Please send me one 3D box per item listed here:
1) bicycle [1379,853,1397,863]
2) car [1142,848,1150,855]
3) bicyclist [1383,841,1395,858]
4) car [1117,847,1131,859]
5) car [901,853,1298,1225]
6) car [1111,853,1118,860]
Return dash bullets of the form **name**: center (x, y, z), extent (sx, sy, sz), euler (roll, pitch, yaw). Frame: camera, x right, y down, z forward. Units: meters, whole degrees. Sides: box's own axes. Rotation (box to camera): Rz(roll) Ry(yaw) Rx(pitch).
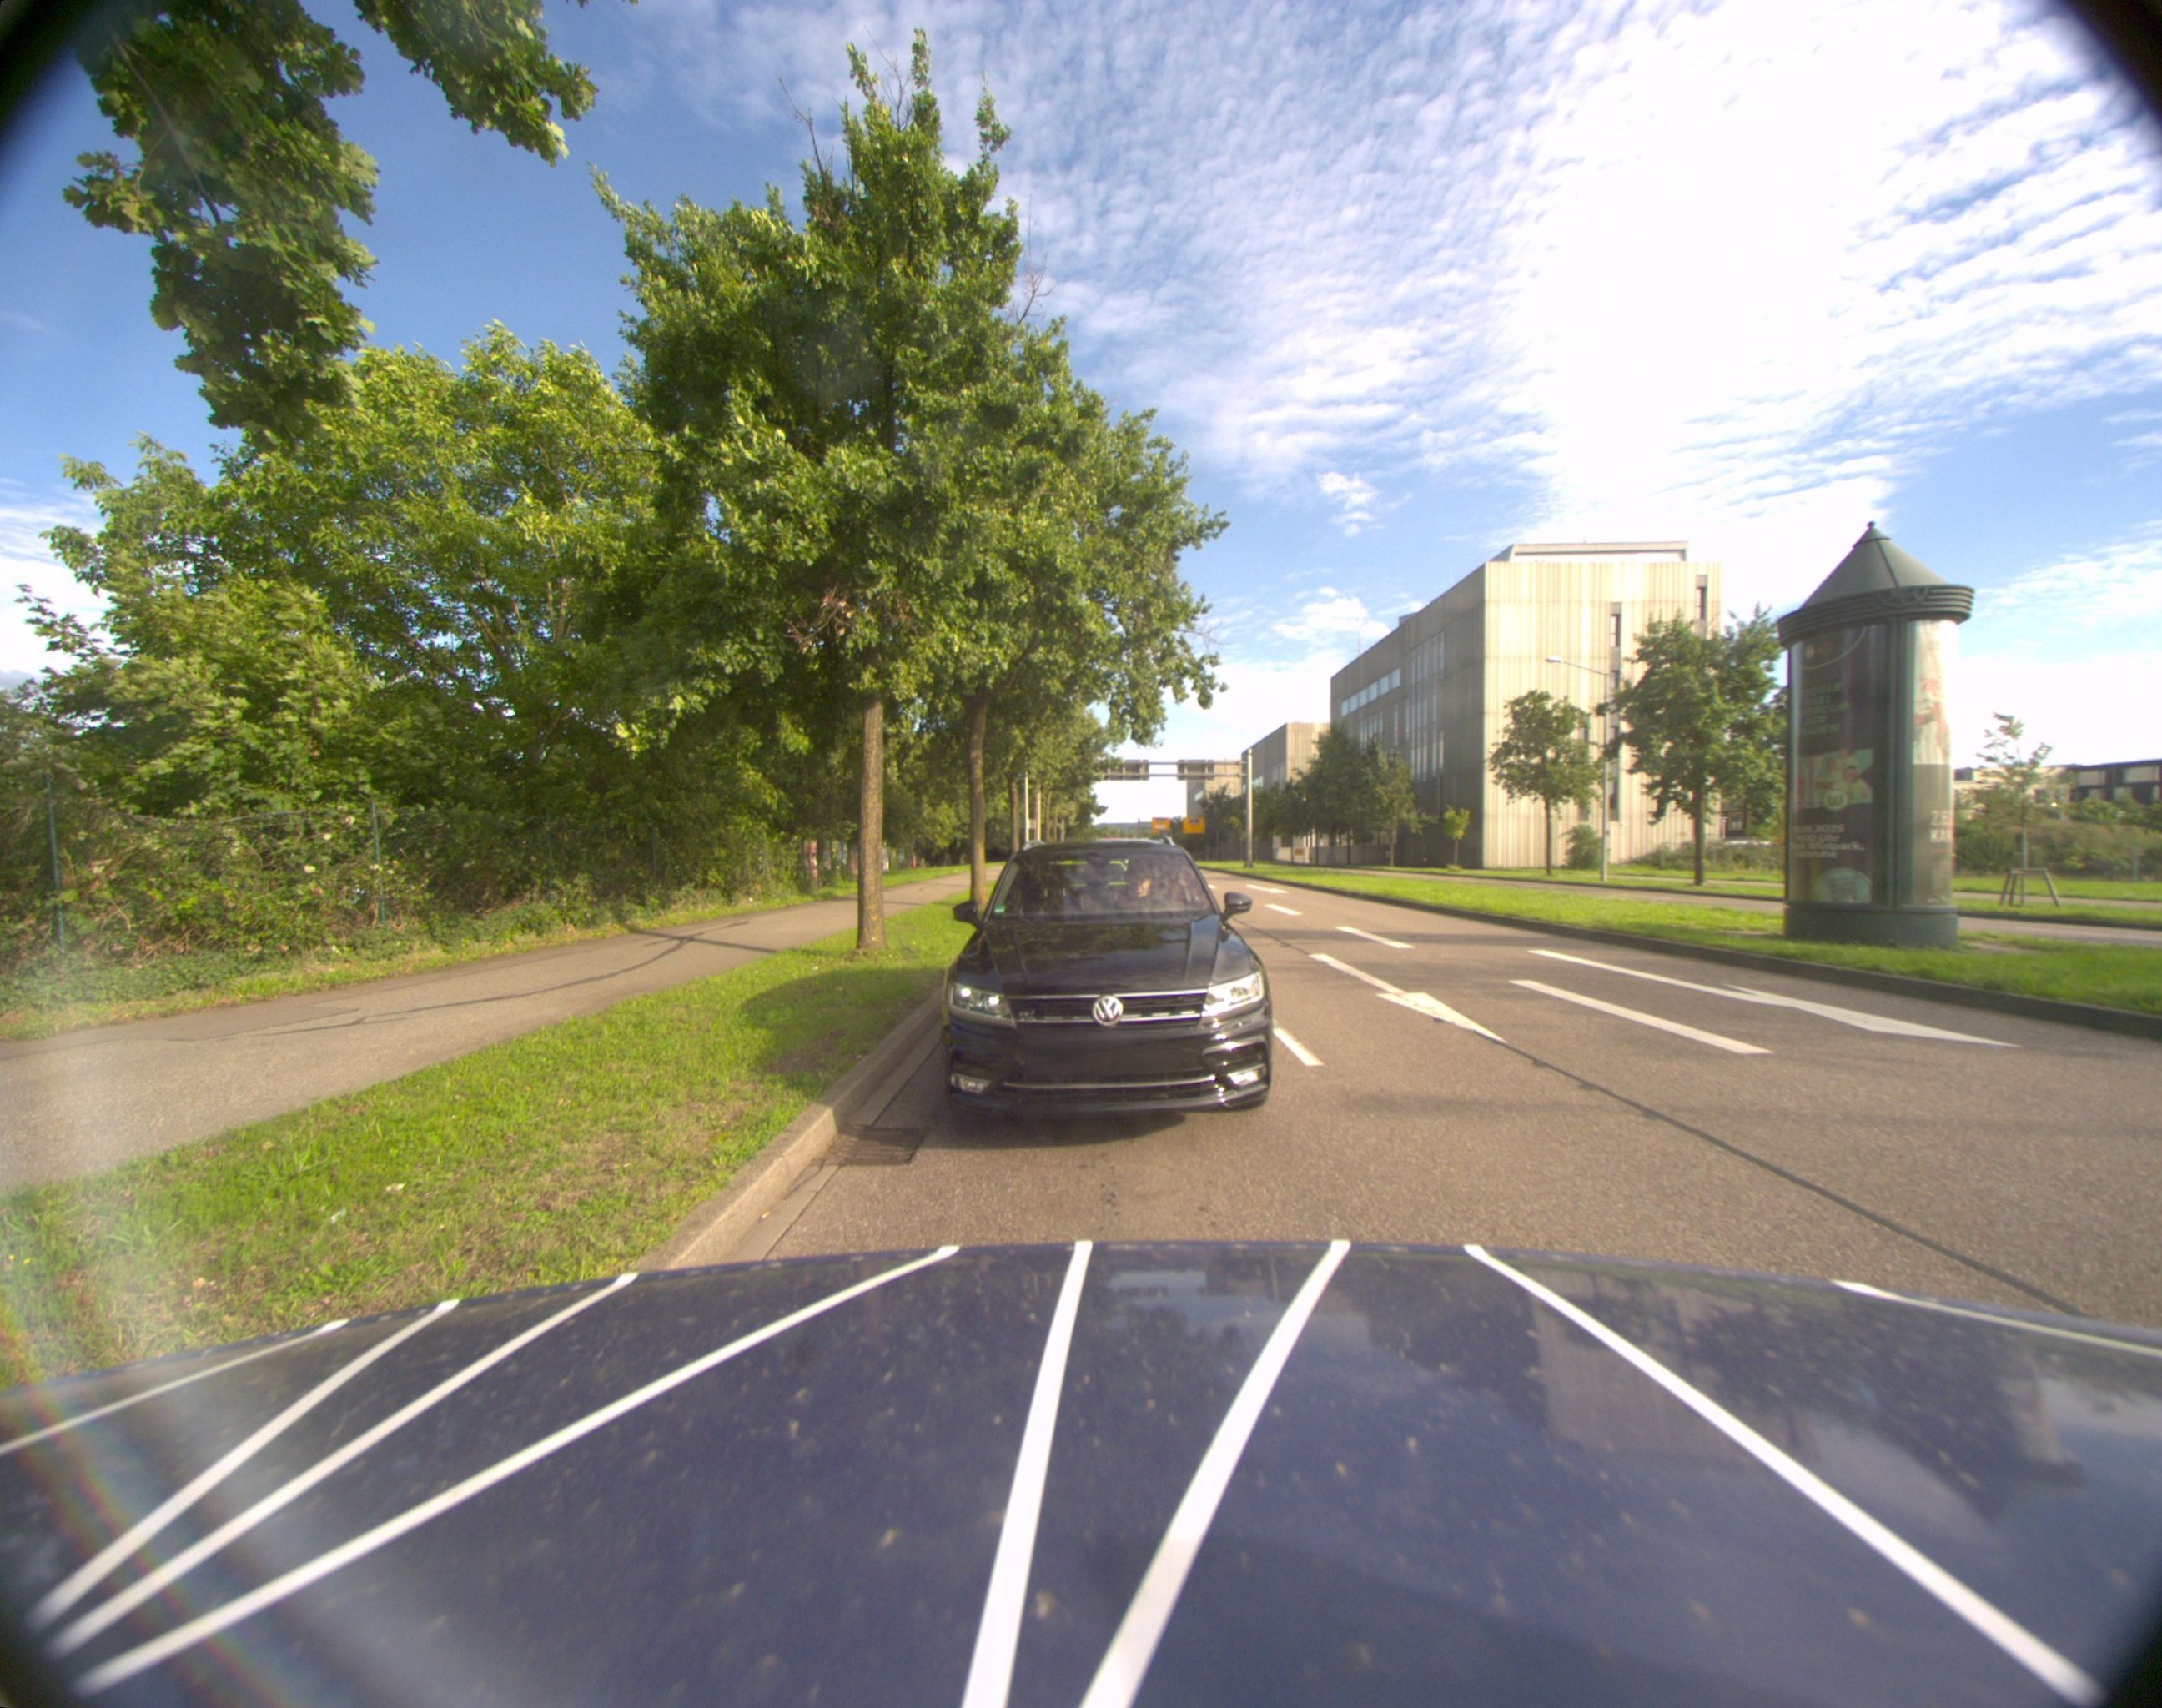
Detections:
- **bicycle**: center (28.670, 0.357, 70.975), extent (0.897, 0.975, 1.911), euler (1, 0, 1)
- **car**: center (18.889, -0.759, 219.573), extent (1.998, 2.002, 4.000), euler (0, 0, 0)
- **bicyclist**: center (28.684, -0.412, 70.864), extent (0.707, 1.517, 0.989), euler (0, 1, 1)
- **car**: center (5.548, -0.163, 97.205), extent (1.745, 1.455, 4.000), euler (-1, 1, 3)
- **car**: center (0.141, 0.853, 5.420), extent (1.775, 1.637, 3.868), euler (-2, 1, 2)
- **car**: center (10.429, 0.716, 233.784), extent (1.998, 2.002, 4.000), euler (0, 0, 0)
